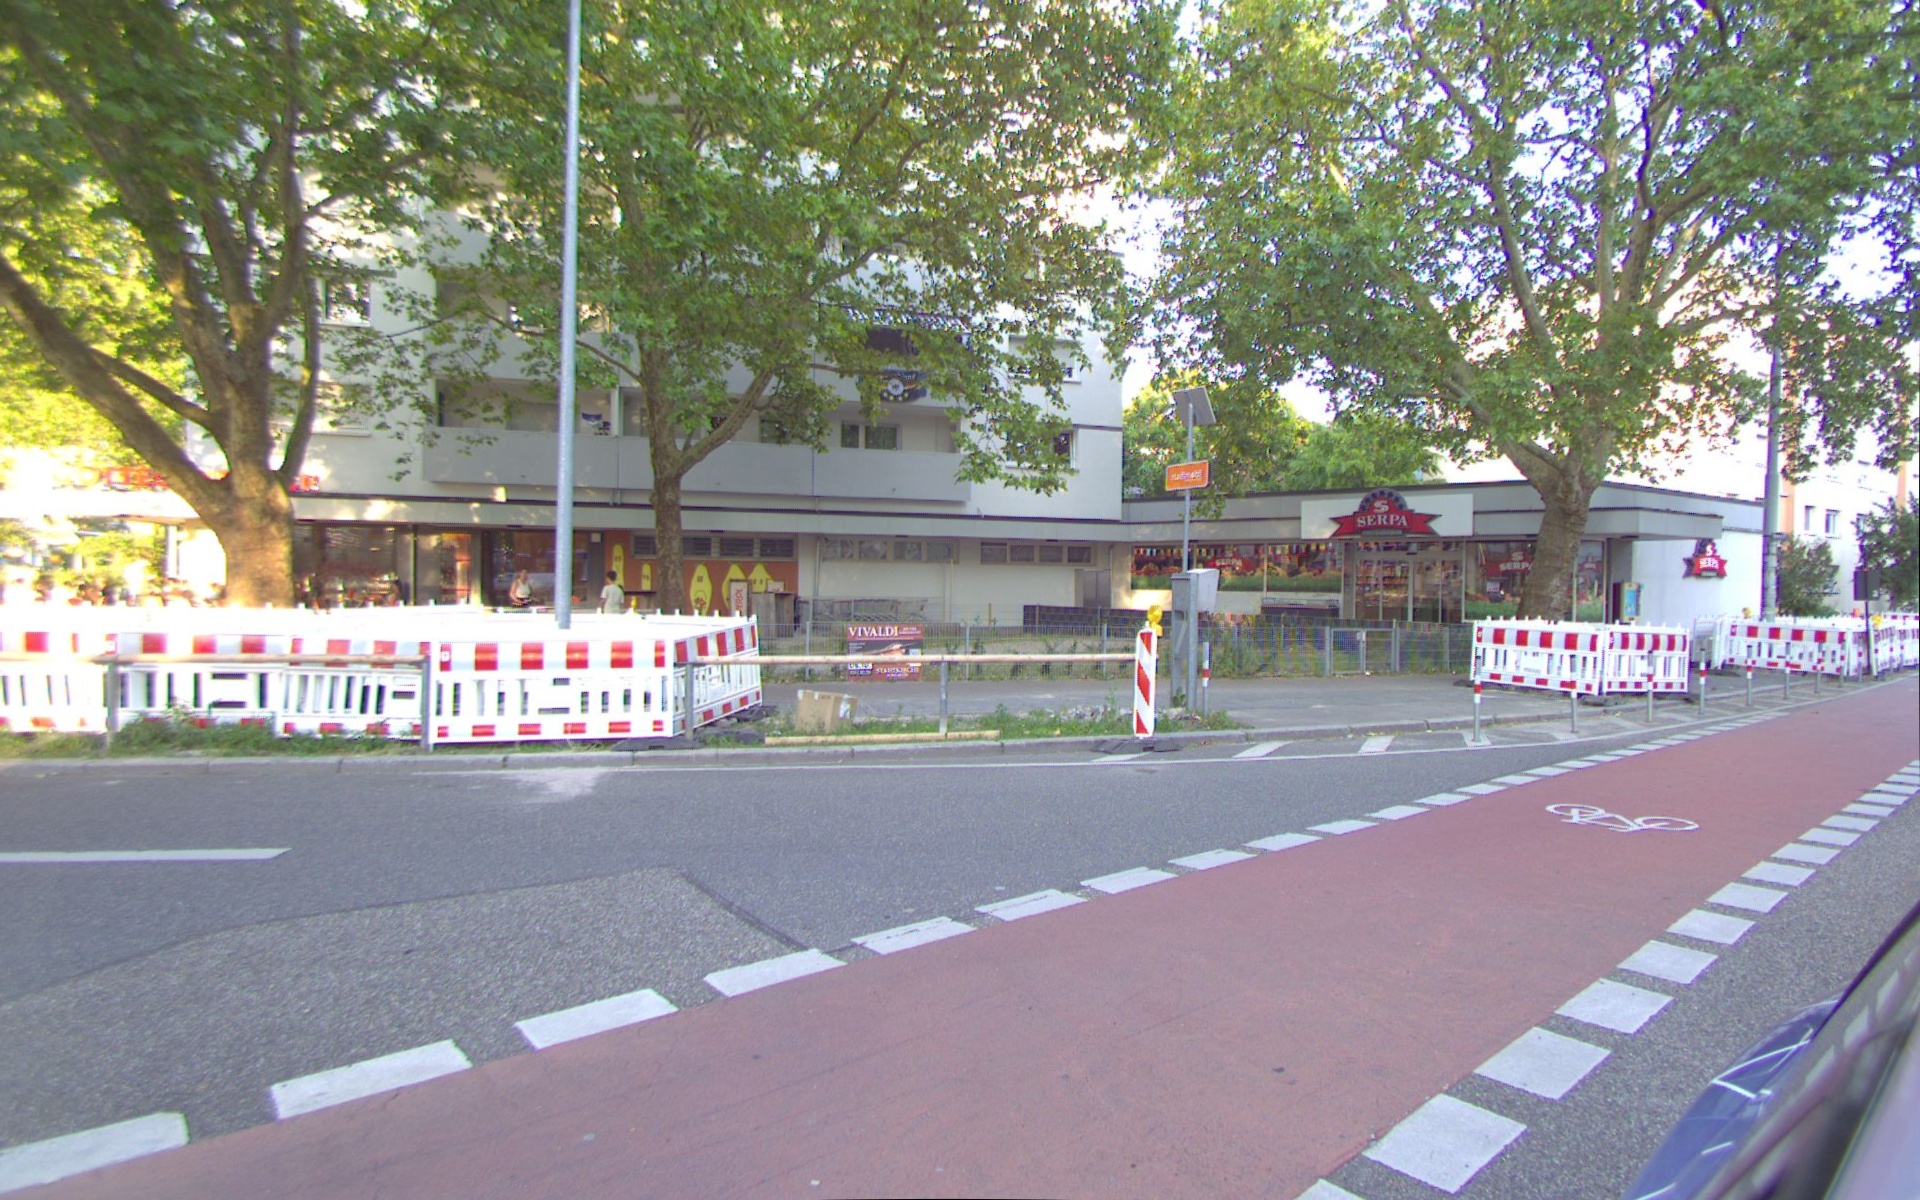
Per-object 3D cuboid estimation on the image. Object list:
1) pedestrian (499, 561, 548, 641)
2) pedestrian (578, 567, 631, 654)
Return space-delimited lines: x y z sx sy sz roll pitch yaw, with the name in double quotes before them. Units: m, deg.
"pedestrian" -9.091 0.012 21.065 0.639 1.608 0.735 0 0 43
"pedestrian" -6.797 0.188 19.355 0.639 1.608 0.735 0 0 43
